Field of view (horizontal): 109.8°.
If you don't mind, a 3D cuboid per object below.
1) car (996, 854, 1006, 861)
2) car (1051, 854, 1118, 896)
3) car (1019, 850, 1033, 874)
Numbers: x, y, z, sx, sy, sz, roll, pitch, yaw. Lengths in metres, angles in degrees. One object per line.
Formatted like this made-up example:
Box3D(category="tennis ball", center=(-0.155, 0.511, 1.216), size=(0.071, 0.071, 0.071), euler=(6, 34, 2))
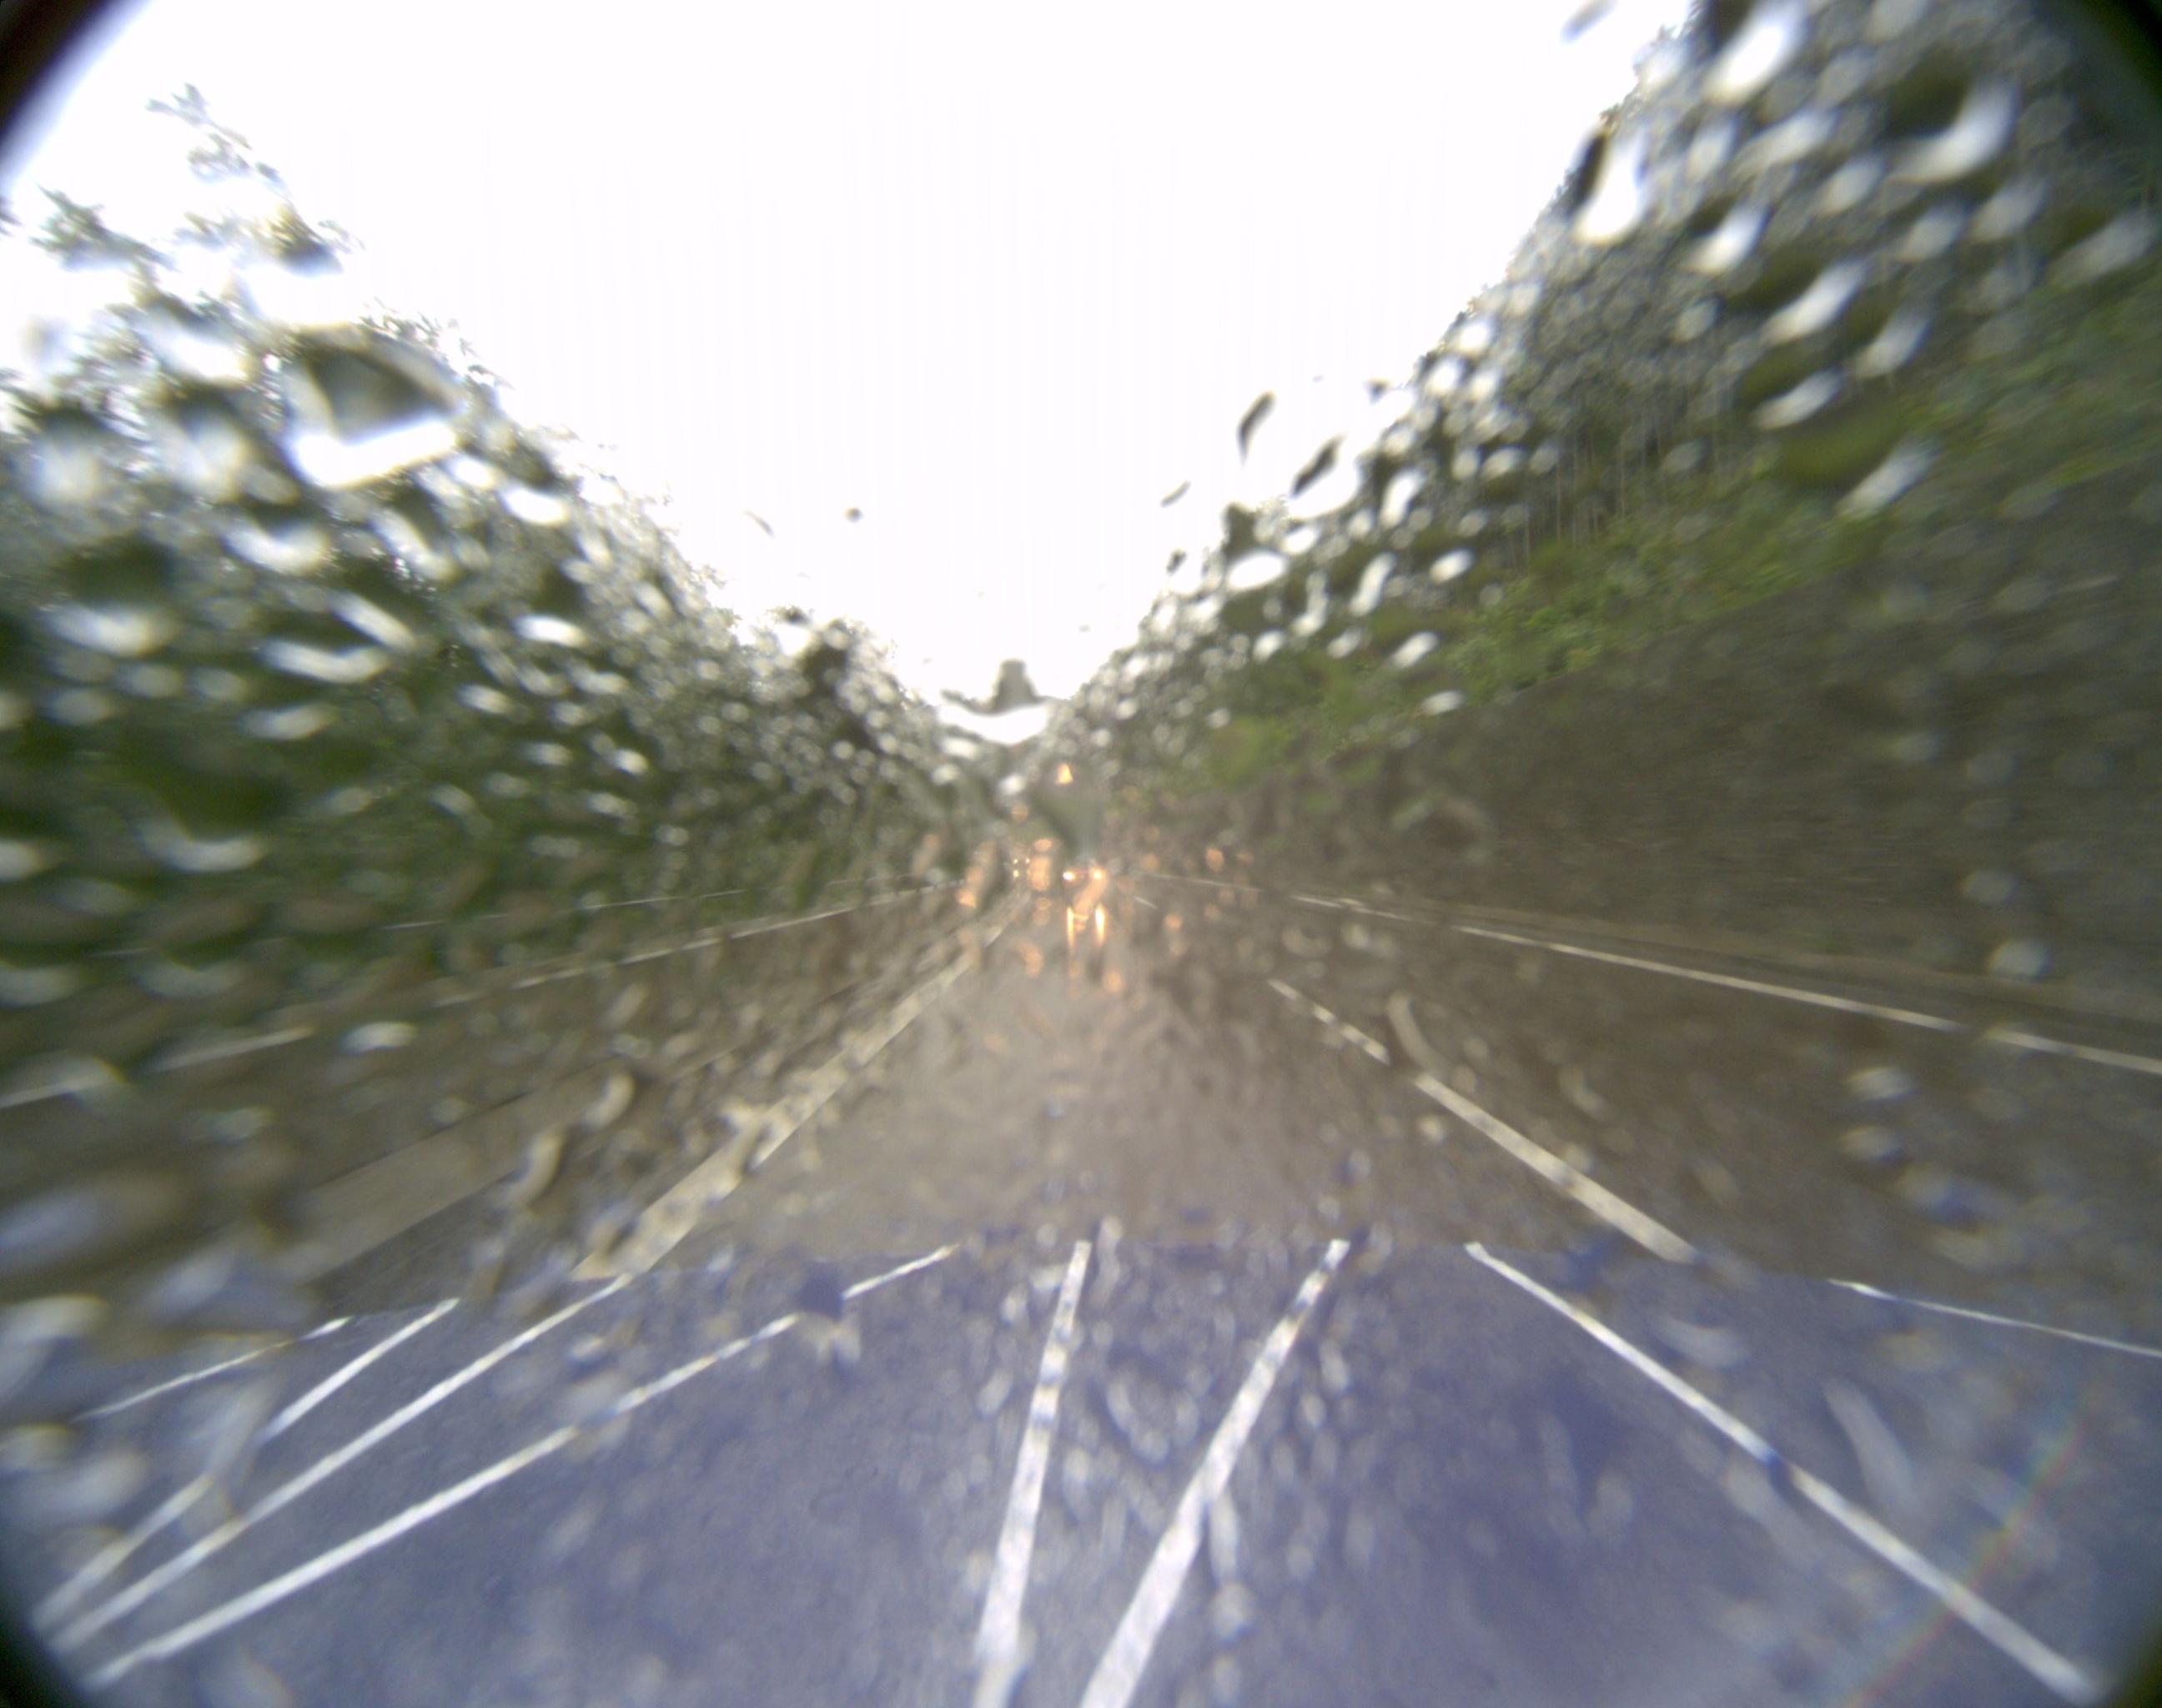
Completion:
Box3D(category="car", center=(-17.736, 0.819, 168.456), size=(1.744, 1.393, 3.996), euler=(1, 0, -11))
Box3D(category="car", center=(0.033, 0.814, 31.996), size=(2.360, 1.549, 5.497), euler=(-2, 0, -4))
Box3D(category="car", center=(-7.395, 1.056, 101.294), size=(1.743, 3.007, 3.998), euler=(1, 0, -6))
